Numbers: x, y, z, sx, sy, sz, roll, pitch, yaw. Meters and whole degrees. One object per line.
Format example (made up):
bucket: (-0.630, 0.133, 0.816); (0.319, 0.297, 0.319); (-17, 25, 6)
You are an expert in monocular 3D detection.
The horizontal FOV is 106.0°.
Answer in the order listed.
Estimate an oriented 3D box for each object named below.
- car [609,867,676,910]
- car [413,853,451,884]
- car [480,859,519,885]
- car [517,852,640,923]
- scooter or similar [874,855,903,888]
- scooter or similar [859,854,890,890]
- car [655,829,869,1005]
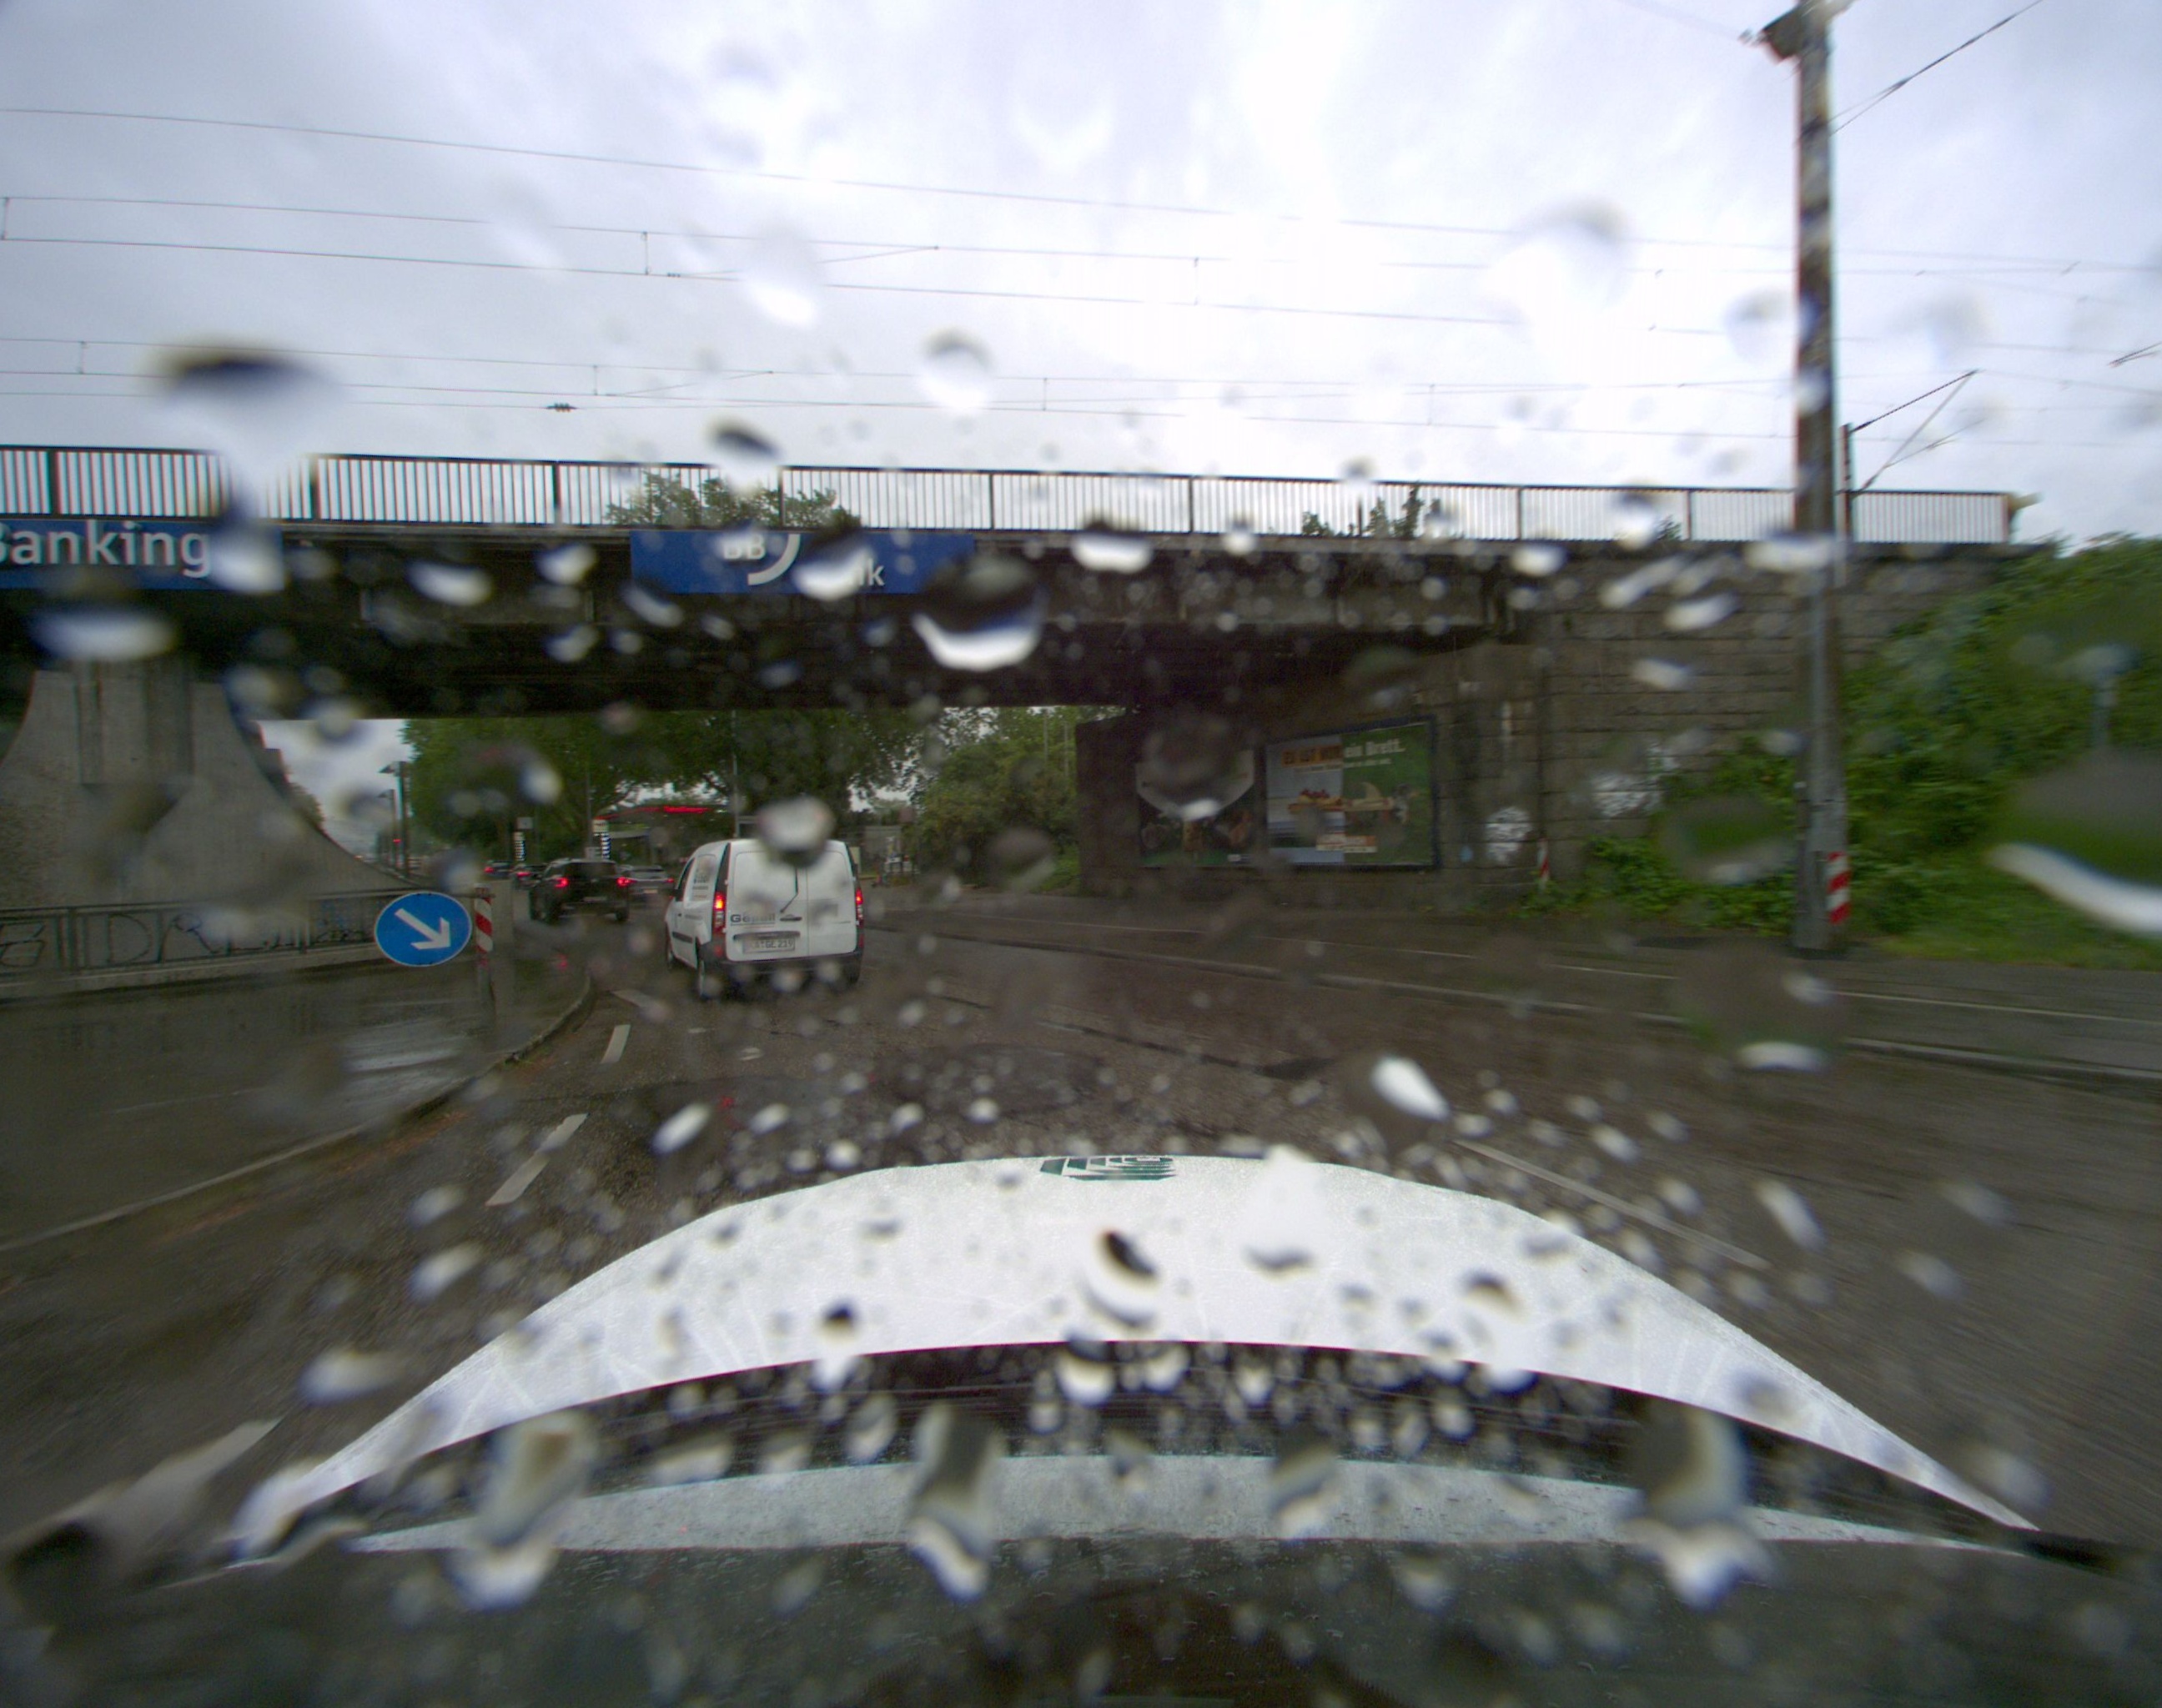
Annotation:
car: (-15.096, 1.140, 27.966); (1.693, 1.283, 3.223); (-3, 1, -34)
car: (-48.541, 1.066, 60.844); (2.066, 2.140, 3.953); (-2, 1, -40)
car: (-40.965, 1.248, 57.319); (1.900, 1.772, 3.953); (-1, 0, -40)
car: (-13.214, 0.821, 21.335); (1.935, 1.609, 3.951); (-3, 1, -43)
scooter or similar: (-7.436, 0.647, 31.421); (0.774, 1.178, 1.535); (-5, 2, -23)
scooter or similar: (-8.352, 0.722, 32.968); (0.706, 1.310, 1.557); (-7, 1, -1)
car: (-4.252, 0.644, 10.465); (1.768, 1.777, 3.958); (-2, 0, -33)
